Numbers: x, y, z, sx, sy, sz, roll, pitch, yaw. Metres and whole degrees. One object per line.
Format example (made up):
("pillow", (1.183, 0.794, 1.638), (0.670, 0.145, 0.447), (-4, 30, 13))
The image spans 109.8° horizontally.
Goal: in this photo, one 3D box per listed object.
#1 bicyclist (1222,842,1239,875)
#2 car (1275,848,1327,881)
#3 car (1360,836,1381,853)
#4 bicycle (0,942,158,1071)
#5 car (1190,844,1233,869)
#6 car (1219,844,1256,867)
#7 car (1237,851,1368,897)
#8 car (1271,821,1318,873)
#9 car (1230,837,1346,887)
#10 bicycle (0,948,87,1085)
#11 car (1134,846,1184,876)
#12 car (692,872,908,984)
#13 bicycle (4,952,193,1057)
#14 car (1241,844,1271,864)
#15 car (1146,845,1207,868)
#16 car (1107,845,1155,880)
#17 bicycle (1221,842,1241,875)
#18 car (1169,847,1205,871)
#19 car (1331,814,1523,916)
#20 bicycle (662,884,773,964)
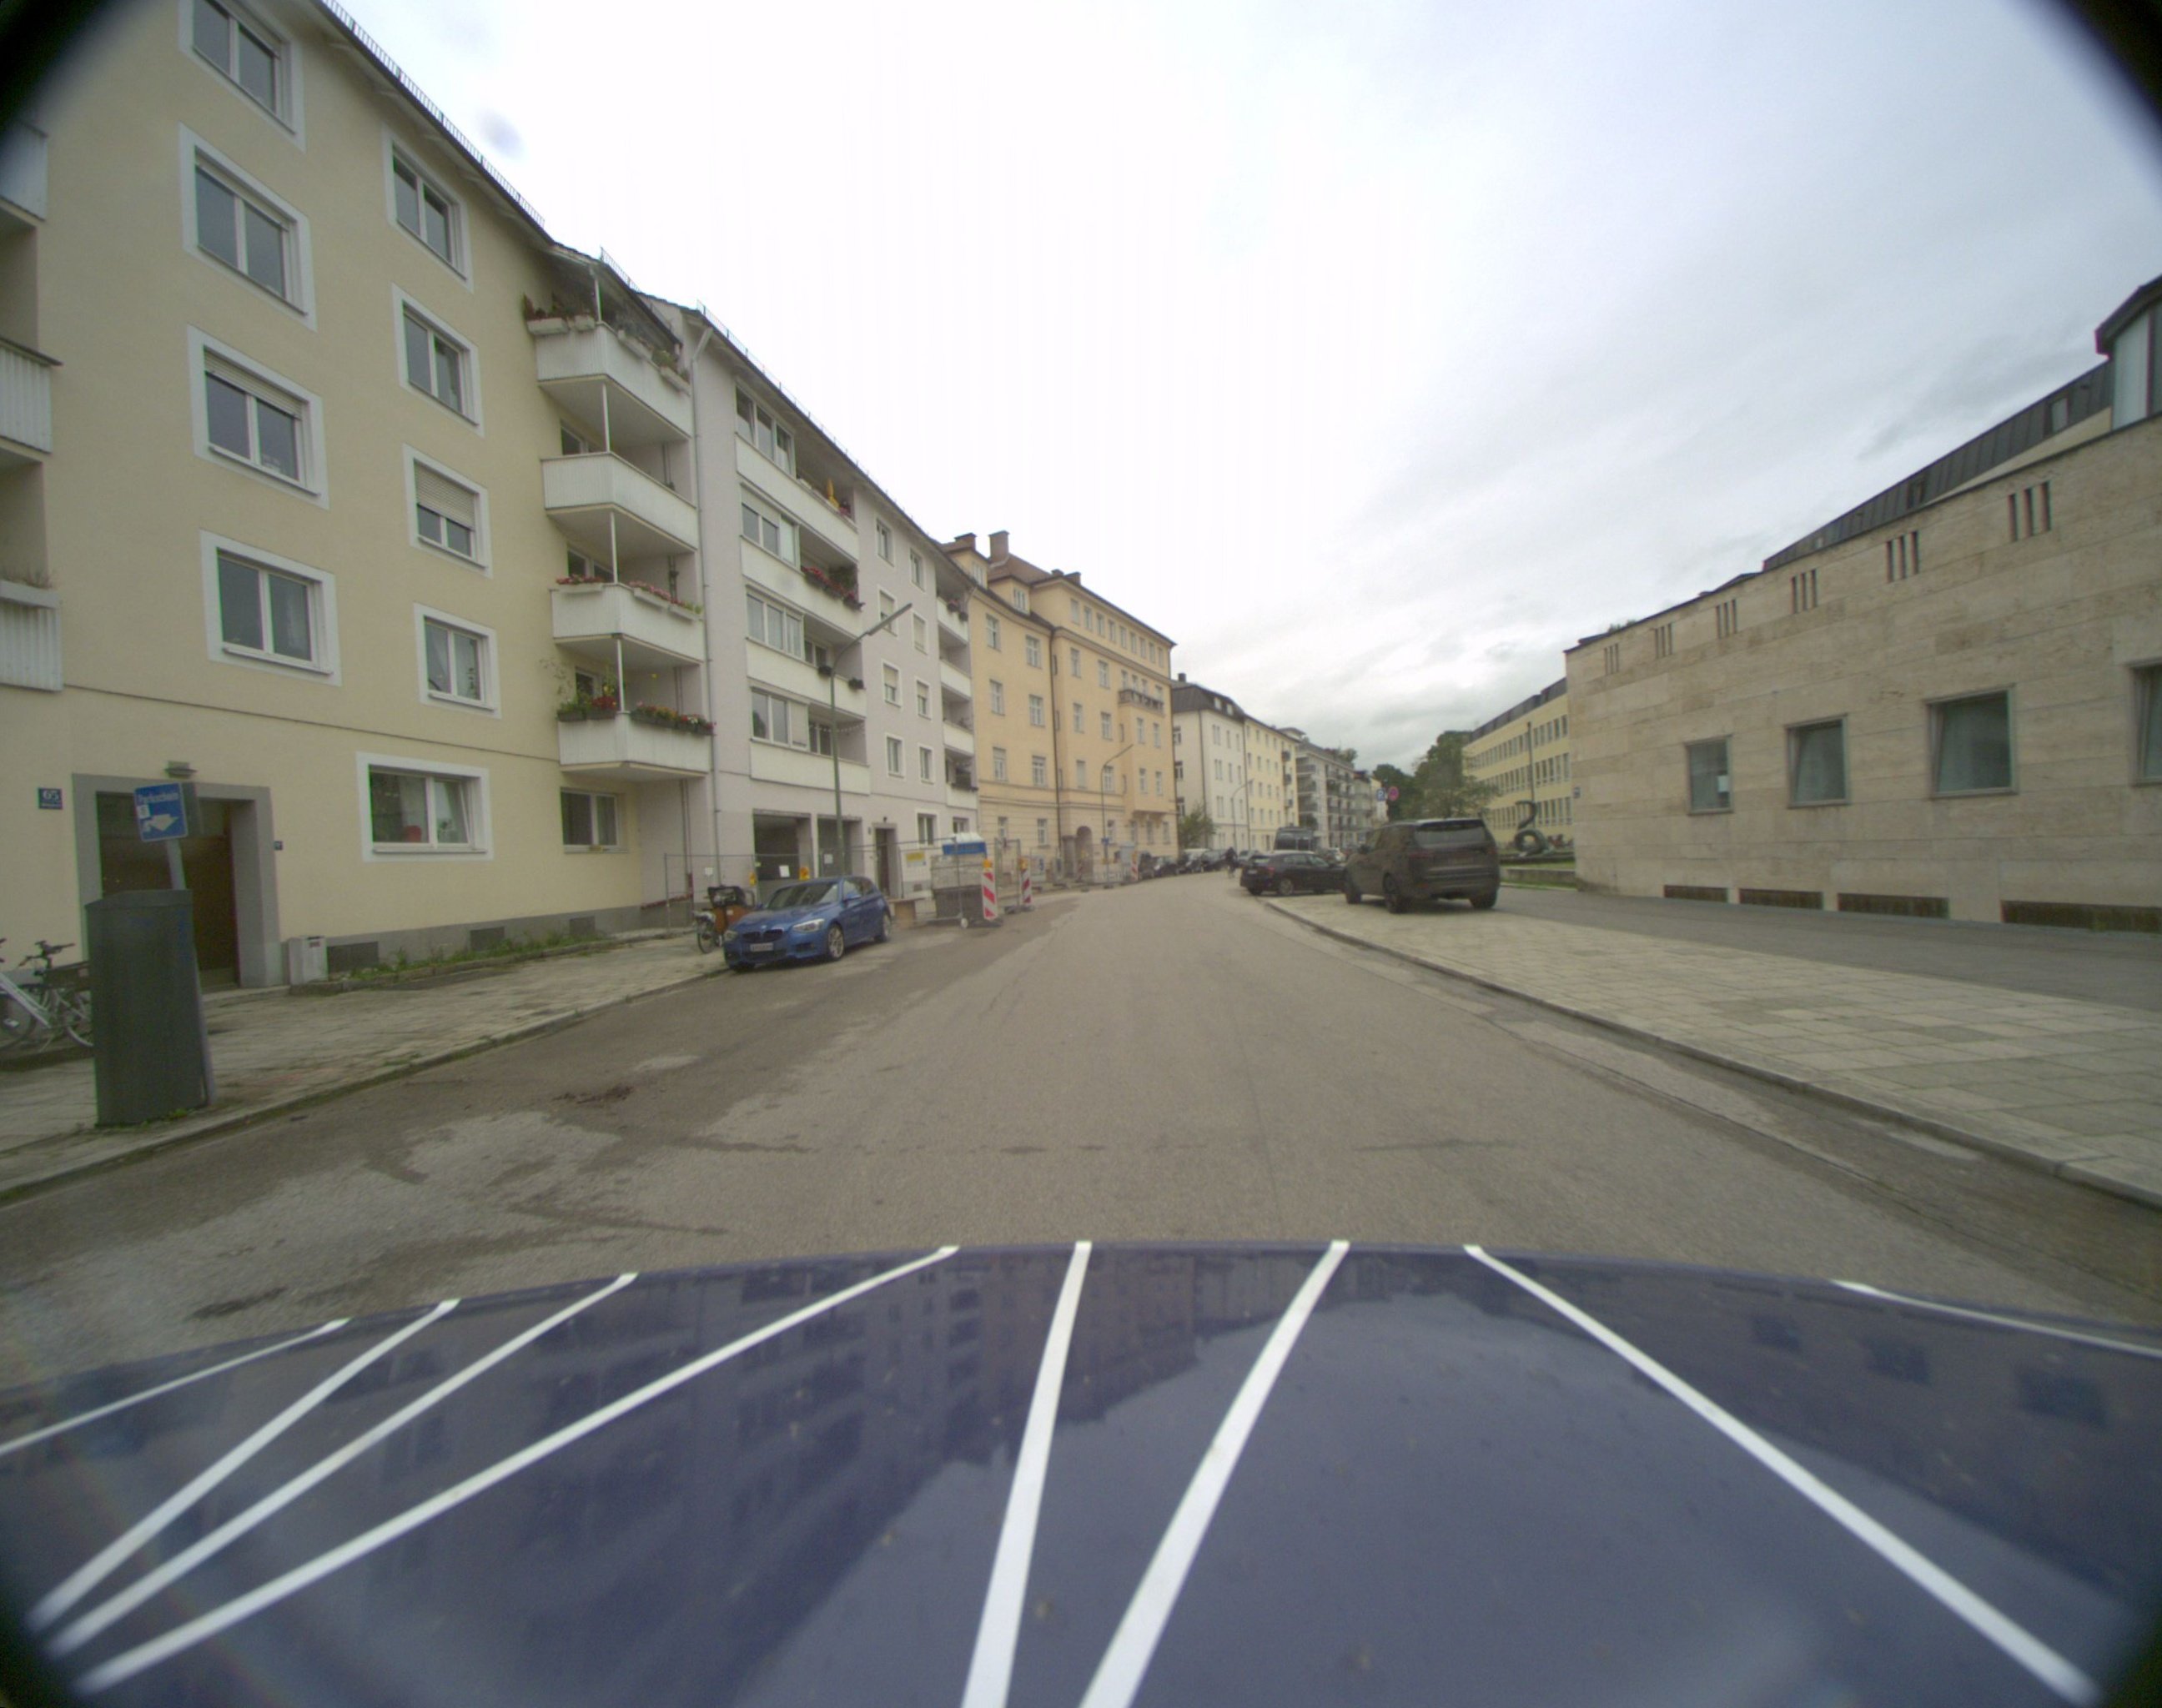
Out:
("bicyclist", (8.023, 0.229, 40.690), (0.749, 1.707, 1.032), (-3, 0, 7))
("car", (9.853, 0.420, 34.335), (1.830, 1.379, 4.145), (0, 1, 10))
("car", (35.118, -1.188, 92.200), (1.945, 1.965, 4.362), (-1, 1, 26))
("bicycle", (-10.564, 1.564, 7.813), (1.703, 1.214, 0.433), (-2, 0, 5))
("car", (10.459, 0.180, 60.637), (1.929, 1.719, 4.696), (-5, -2, 28))
("car", (13.707, 0.068, 66.368), (1.779, 1.720, 4.397), (-5, 0, 28))
("car", (7.380, 0.616, 25.305), (4.012, 1.365, 1.746), (-1, 2, -24))
("car", (11.389, -0.388, 40.731), (2.147, 2.559, 6.217), (-2, 1, 15))
("car", (7.917, 0.300, 29.065), (3.986, 1.521, 1.673), (-5, 0, -21))
("bicycle", (-10.650, 1.565, 7.314), (1.703, 1.214, 0.433), (-2, 0, 5))
("car", (5.220, 0.421, 50.394), (1.838, 1.720, 3.736), (-5, 0, 28))
("car", (-4.754, 1.172, 13.712), (1.835, 1.433, 4.630), (-5, 0, 3))
("bicycle", (-10.720, 1.638, 8.303), (1.703, 1.029, 0.368), (-2, 0, 5))
("car", (16.564, 0.001, 71.762), (1.779, 1.581, 3.708), (-5, 0, 28))
("car", (8.413, 0.249, 66.860), (4.914, 1.762, 1.888), (-2, 1, 22))
("car", (3.018, 0.479, 45.203), (1.839, 1.788, 4.243), (-5, 0, 16))
("bicycle", (8.068, 0.256, 41.006), (0.796, 1.712, 3.117), (-1, -1, 7))
("car", (7.826, 0.341, 55.993), (1.509, 1.547, 2.867), (-5, 0, 30))
("car", (7.116, 0.210, 16.295), (1.998, 1.761, 4.815), (-3, 0, 2))
("bicycle", (-7.305, 1.357, 15.471), (0.811, 1.315, 2.775), (-2, 1, 2))
